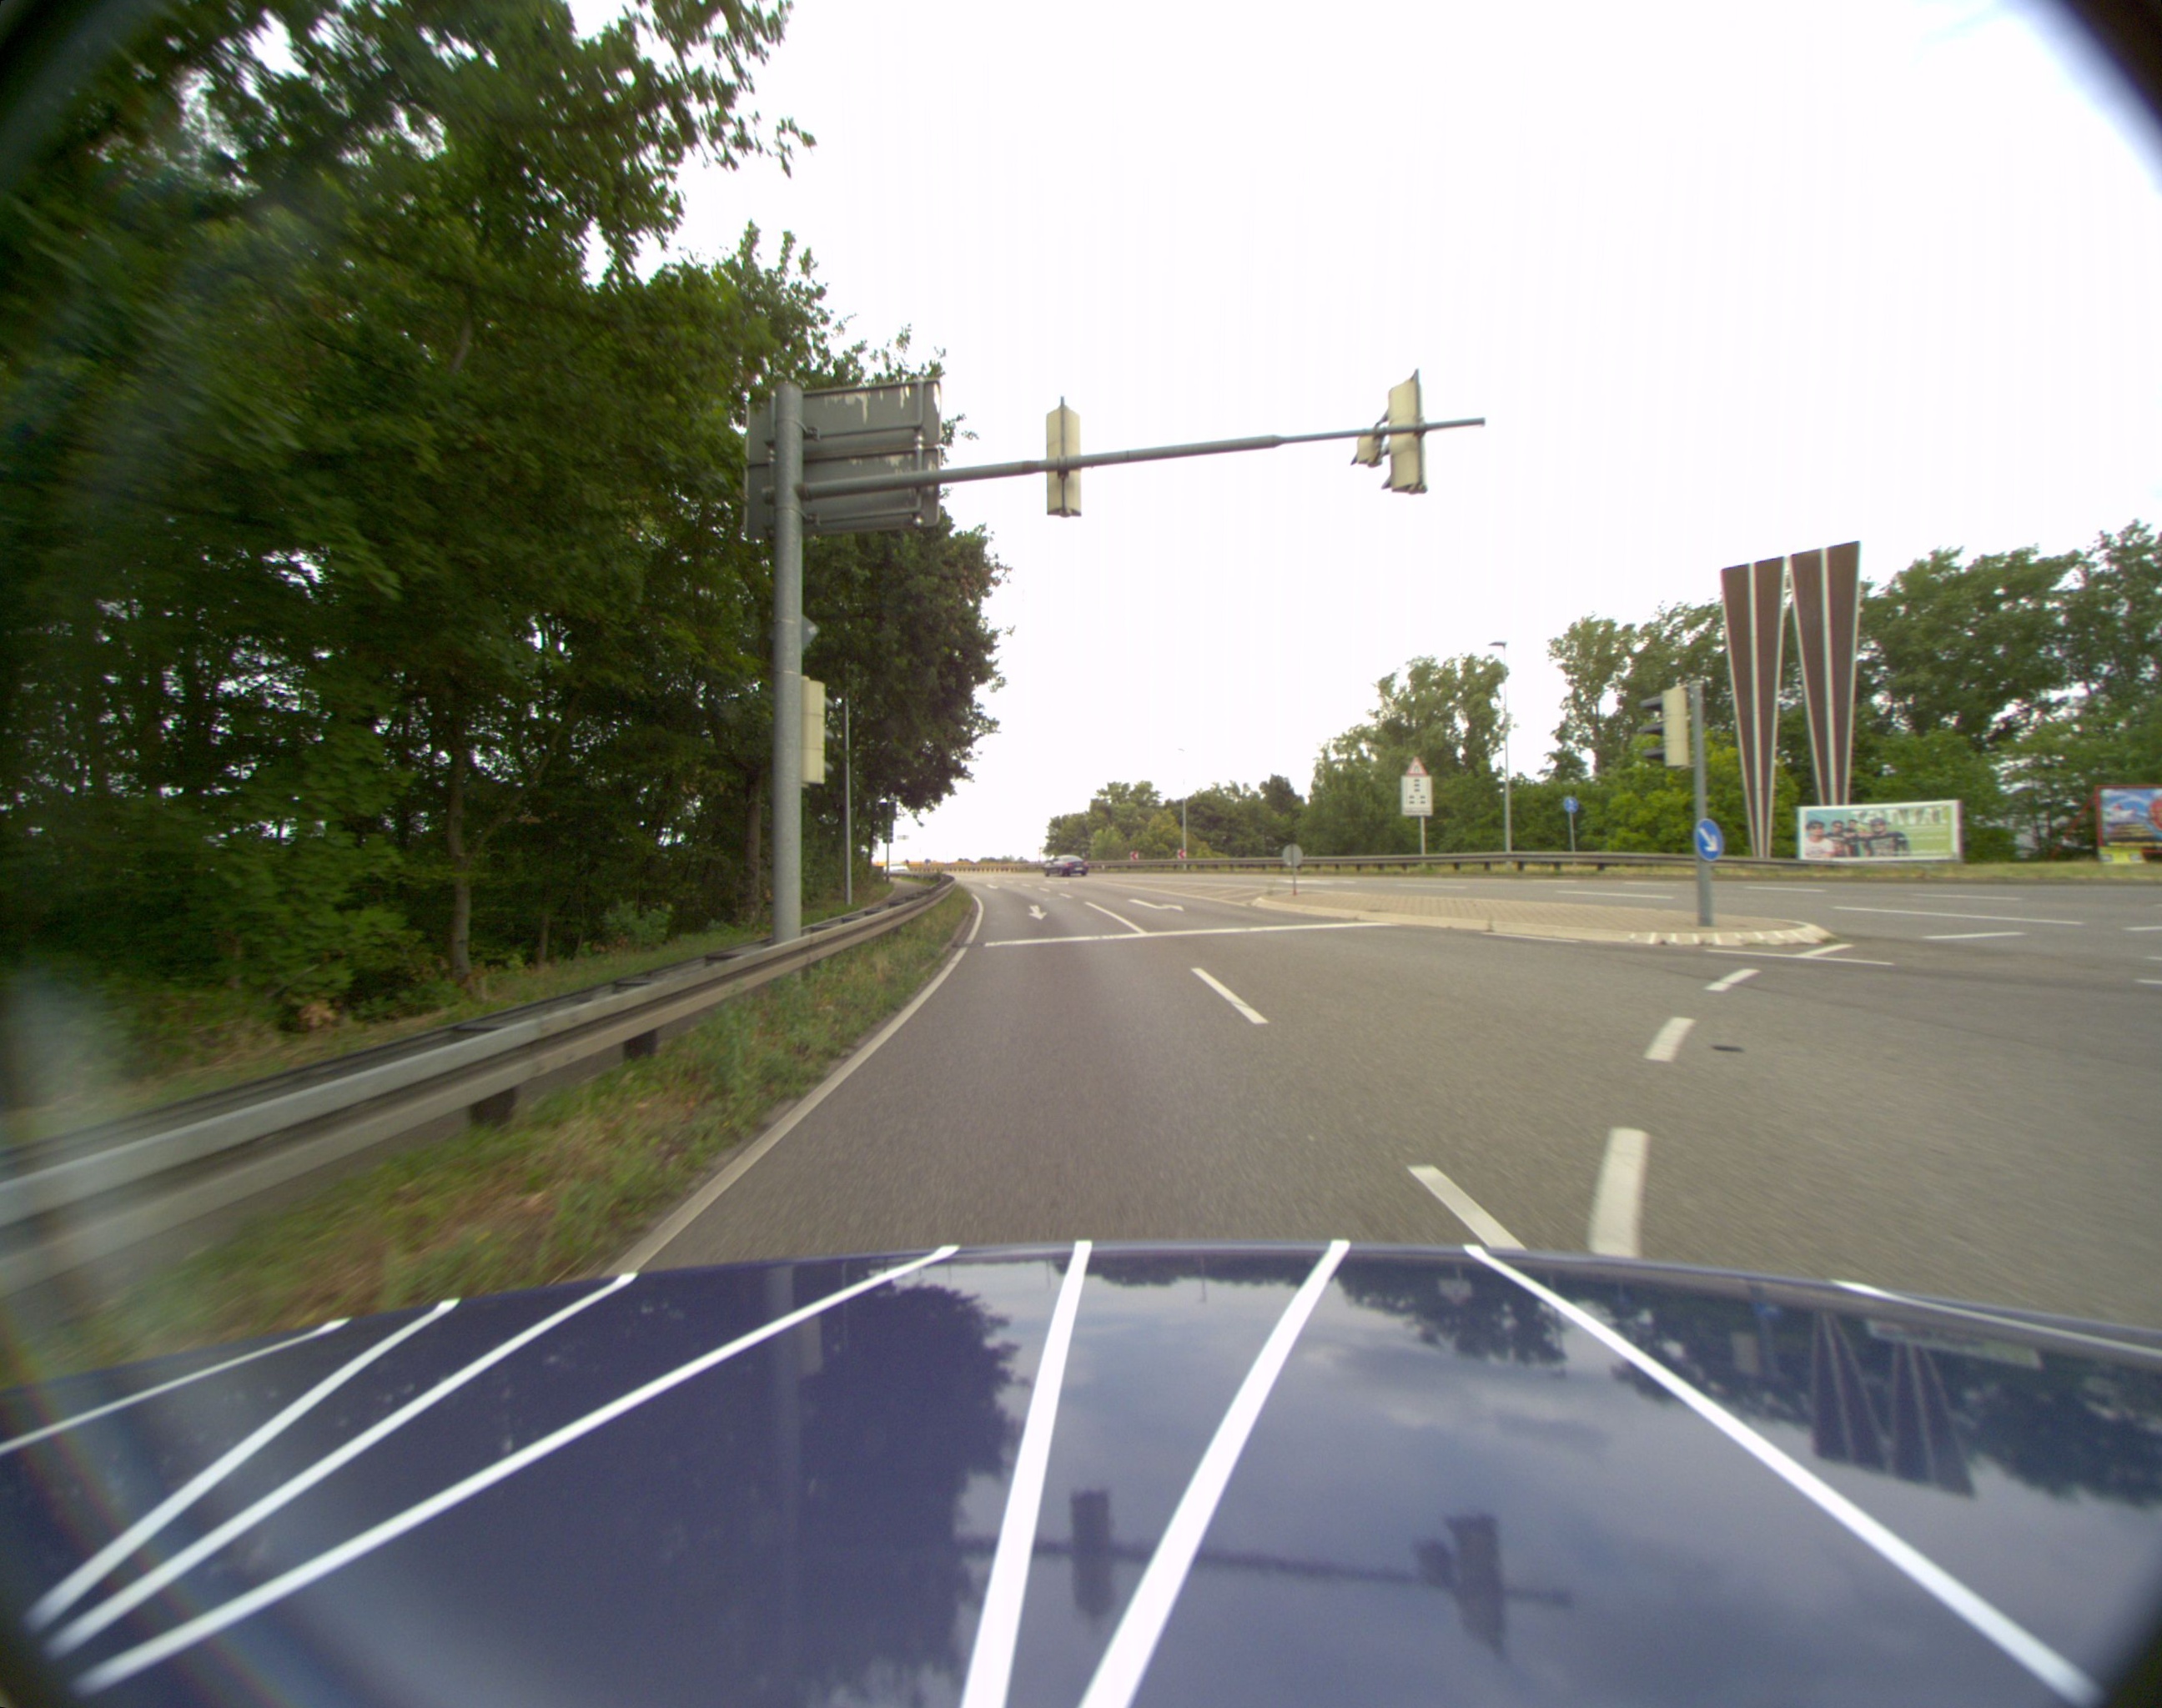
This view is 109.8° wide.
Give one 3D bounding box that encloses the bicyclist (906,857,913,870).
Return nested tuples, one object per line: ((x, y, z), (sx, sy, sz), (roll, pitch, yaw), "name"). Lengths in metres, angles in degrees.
((-23.221, 1.284, 103.032), (0.775, 1.622, 0.647), (-2, 1, -32), "bicyclist")

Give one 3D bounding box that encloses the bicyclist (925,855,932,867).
((-19.297, 0.888, 96.151), (0.755, 1.531, 0.613), (-2, 0, 45), "bicyclist")

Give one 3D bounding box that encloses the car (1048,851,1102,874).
((-0.447, 0.580, 50.491), (2.002, 1.447, 4.646), (-2, 0, -21), "car")

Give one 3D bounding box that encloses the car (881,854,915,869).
((-19.142, 0.803, 79.583), (1.943, 1.447, 3.875), (2, -2, -39), "car")

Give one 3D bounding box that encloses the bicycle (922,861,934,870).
((-19.369, 1.490, 96.228), (0.495, 1.039, 1.805), (-2, 0, -45), "bicycle")

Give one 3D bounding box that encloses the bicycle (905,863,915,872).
((-23.237, 1.885, 103.077), (0.638, 1.167, 1.901), (-2, 0, -35), "bicycle")
